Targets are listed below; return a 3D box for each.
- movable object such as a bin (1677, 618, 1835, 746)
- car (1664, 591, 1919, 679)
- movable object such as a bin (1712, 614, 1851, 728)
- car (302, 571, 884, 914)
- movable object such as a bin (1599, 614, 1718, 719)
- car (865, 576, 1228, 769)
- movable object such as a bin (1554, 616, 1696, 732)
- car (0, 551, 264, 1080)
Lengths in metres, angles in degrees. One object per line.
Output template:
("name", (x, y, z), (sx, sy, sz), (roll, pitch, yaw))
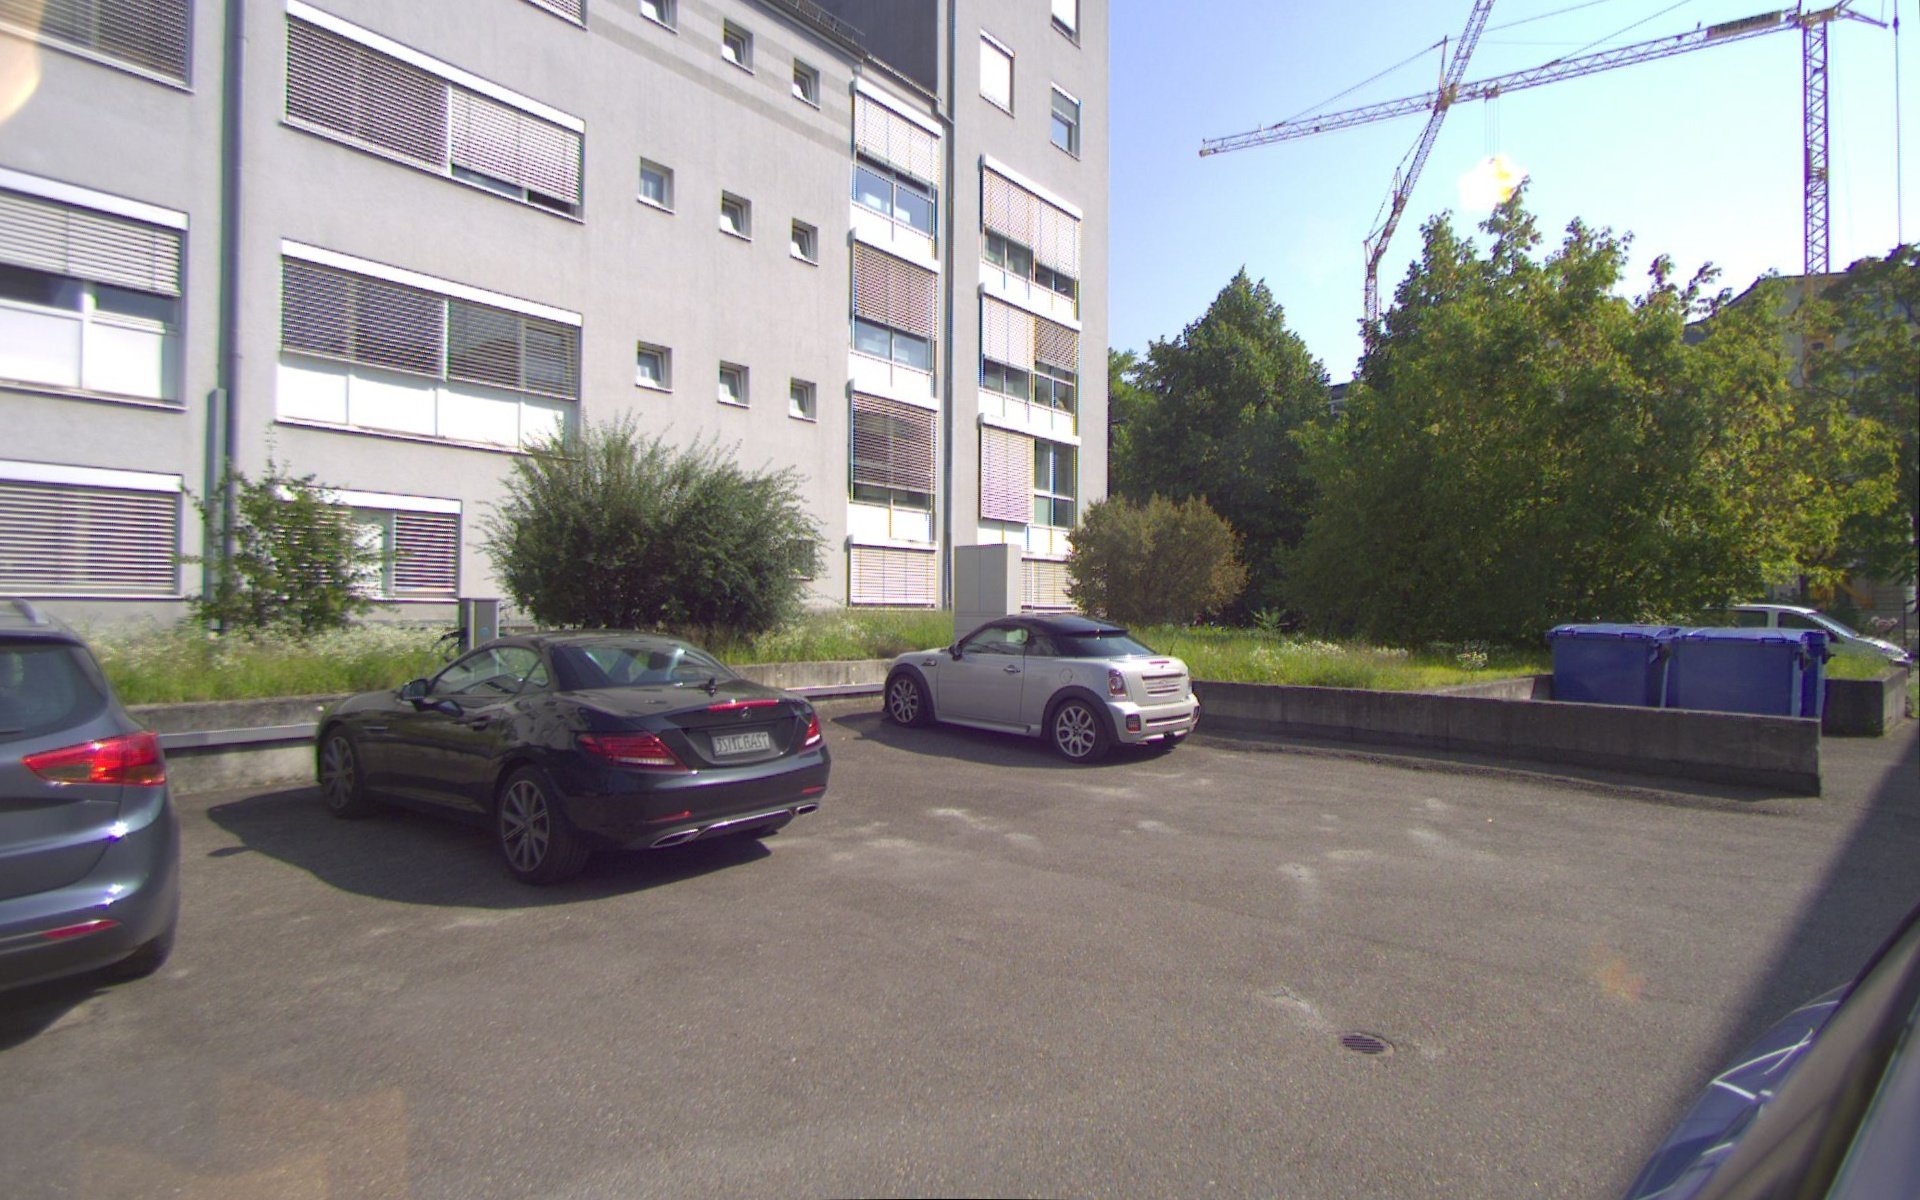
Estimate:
("movable object such as a bin", (9.284, 0.896, 11.813), (1.175, 1.357, 1.301), (0, -1, -44))
("car", (20.388, 0.792, 24.642), (2.008, 1.945, 4.964), (0, -1, -41))
("movable object such as a bin", (10.542, 0.864, 12.991), (1.309, 1.357, 1.083), (-1, -1, 43))
("car", (-2.530, 0.680, 6.671), (3.789, 1.609, 1.872), (0, -1, 37))
("movable object such as a bin", (9.638, 0.872, 13.971), (1.225, 1.357, 1.060), (-1, -1, 42))
("car", (0.828, 0.629, 11.085), (3.622, 1.563, 1.774), (5, 4, 45))
("movable object such as a bin", (8.408, 0.889, 12.813), (1.097, 1.357, 1.237), (0, -1, -40))
("car", (-4.522, 0.667, 4.188), (3.858, 1.609, 1.851), (-1, -1, 42))
